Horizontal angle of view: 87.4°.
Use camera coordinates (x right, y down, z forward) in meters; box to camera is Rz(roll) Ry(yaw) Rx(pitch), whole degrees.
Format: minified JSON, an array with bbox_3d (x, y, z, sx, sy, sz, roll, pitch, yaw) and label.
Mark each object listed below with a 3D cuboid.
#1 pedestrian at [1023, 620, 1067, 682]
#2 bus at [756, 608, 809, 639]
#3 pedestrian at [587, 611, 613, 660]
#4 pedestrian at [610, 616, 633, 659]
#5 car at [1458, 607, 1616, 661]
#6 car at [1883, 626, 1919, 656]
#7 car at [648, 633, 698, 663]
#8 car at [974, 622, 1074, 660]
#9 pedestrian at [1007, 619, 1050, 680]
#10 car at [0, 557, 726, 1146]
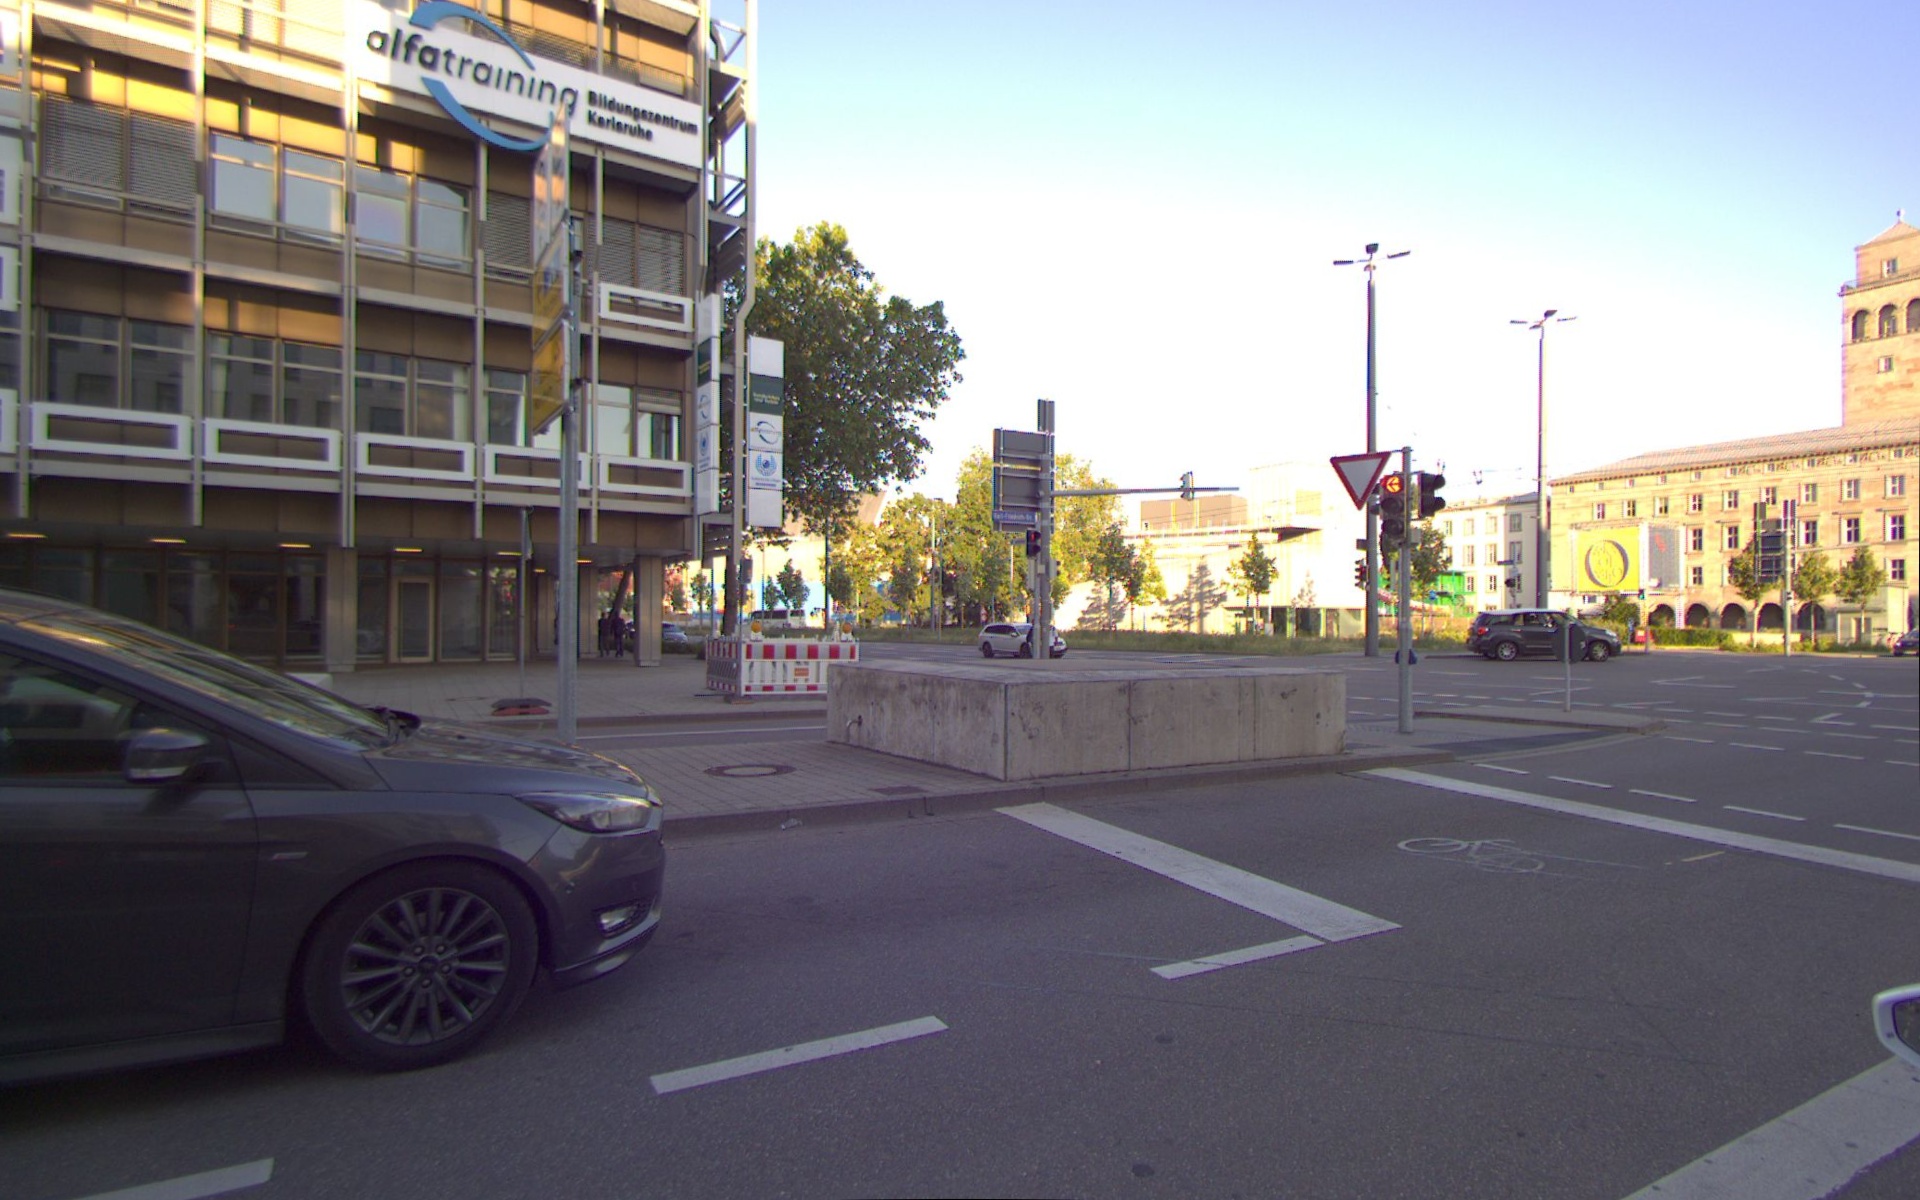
[{"bbox_3d":[2.441,1.448,28.822,0.949,1.744,0.816,1,-1,-34],"label":"pedestrian"},{"bbox_3d":[-23.085,2.987,130.034,2.959,3.818,10.341,1,-1,-34],"label":"bus"},{"bbox_3d":[-13.762,1.336,38.381,0.749,1.830,0.715,2,0,-35],"label":"pedestrian"},{"bbox_3d":[-13.020,1.426,38.619,0.660,1.606,0.715,2,0,-34],"label":"pedestrian"},{"bbox_3d":[18.321,1.071,32.084,4.051,1.626,1.745,0,-1,17],"label":"car"},{"bbox_3d":[51.155,2.157,53.549,4.111,1.485,1.813,0,-1,-32],"label":"car"},{"bbox_3d":[-16.818,2.766,58.696,1.722,1.605,4.554,0,-1,-30],"label":"car"},{"bbox_3d":[2.626,1.693,42.270,1.832,1.476,4.549,0,-1,-33],"label":"car"},{"bbox_3d":[2.018,1.439,29.602,0.949,1.744,0.816,1,-1,-34],"label":"pedestrian"},{"bbox_3d":[-3.109,0.618,3.116,4.330,1.482,1.748,1,1,-31],"label":"car"}]
